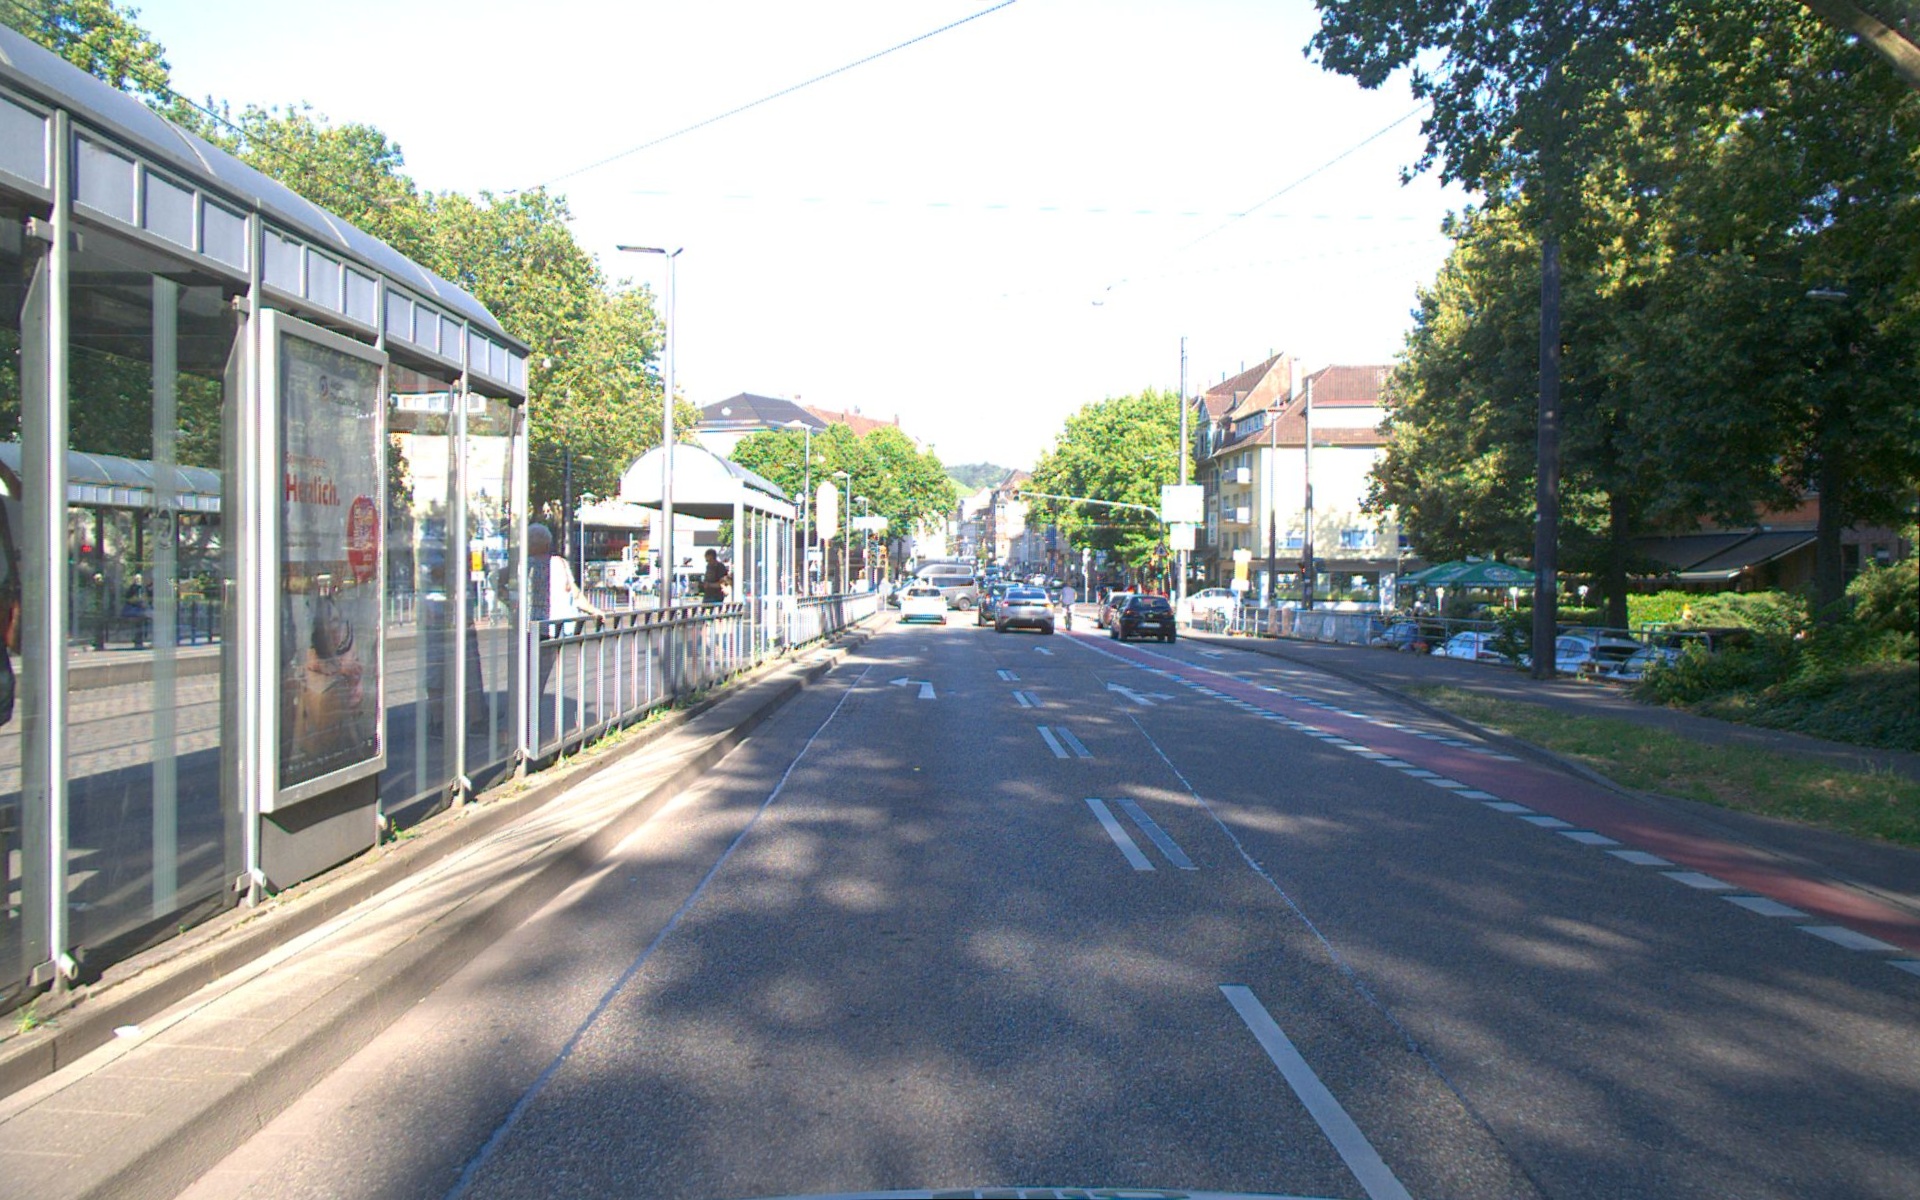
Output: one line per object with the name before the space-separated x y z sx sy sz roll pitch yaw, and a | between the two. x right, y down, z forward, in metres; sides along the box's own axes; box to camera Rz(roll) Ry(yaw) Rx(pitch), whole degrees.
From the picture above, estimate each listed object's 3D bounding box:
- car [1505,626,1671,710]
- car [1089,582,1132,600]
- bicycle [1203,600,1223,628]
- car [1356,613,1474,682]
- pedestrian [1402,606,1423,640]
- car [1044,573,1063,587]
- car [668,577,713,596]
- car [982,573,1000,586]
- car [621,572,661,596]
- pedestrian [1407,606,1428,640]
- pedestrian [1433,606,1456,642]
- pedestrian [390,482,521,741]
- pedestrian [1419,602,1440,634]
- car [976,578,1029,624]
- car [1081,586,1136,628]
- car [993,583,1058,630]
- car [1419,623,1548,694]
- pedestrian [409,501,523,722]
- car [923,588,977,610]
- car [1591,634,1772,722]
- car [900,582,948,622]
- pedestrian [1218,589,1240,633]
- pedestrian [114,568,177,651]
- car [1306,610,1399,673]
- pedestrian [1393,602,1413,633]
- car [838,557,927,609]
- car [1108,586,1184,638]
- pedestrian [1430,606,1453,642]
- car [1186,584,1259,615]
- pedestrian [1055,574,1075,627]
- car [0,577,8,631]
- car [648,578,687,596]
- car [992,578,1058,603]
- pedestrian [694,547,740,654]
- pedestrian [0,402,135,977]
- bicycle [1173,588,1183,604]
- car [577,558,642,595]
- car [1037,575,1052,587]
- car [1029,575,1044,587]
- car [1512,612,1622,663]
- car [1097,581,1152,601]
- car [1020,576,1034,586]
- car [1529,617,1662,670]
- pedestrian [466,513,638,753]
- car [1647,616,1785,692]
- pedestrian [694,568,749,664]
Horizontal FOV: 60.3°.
car | 13.556 1.422 36.009 1.758 1.606 4.552 2 0 -1
car | 13.821 -0.828 151.996 3.968 1.536 1.772 0 1 -43
bicycle | 10.163 0.562 66.439 0.488 1.093 1.799 2 0 -1
car | 13.206 1.350 48.258 1.760 1.834 4.204 2 0 -8
pedestrian | 18.689 0.942 68.326 0.635 1.361 0.632 3 0 -1
car | 11.846 -2.522 209.754 2.062 1.807 4.340 1 1 -1
car | -23.281 -1.163 143.135 1.760 1.677 4.005 1 1 28
car | 3.518 -2.328 187.942 1.758 1.536 3.998 1 1 -2
car | -28.101 -1.410 145.950 1.756 1.990 4.002 1 1 17
pedestrian | 19.172 0.961 69.283 0.635 1.361 0.632 3 0 -1
pedestrian | 18.799 0.927 64.179 0.635 1.361 0.632 3 0 -1
pedestrian | -3.794 0.079 12.475 0.637 1.873 0.711 2 0 9
pedestrian | 20.738 0.804 73.071 0.635 1.361 0.632 3 0 -1
car | 1.600 0.021 63.230 1.764 1.666 4.044 1 1 -2
car | 5.936 0.261 66.493 1.758 1.536 4.000 1 2 -1
car | 2.169 0.188 55.948 1.890 1.498 4.854 1 1 -1
car | 13.216 1.440 42.010 1.758 1.606 4.441 2 0 -1
pedestrian | -4.059 0.091 13.576 0.646 1.752 0.701 2 0 -37
car | -0.603 -0.062 95.785 2.848 1.183 2.070 1 0 -8
car | 13.667 1.447 31.554 1.758 1.466 3.575 2 0 -3
car | -1.421 0.041 64.795 1.772 1.478 3.999 1 0 -2
pedestrian | 9.948 0.415 61.247 0.634 1.590 0.632 3 0 18
pedestrian | -13.564 0.156 27.555 0.656 1.348 0.756 -2 0 -3
car | 12.778 1.312 54.104 1.758 1.931 4.356 2 0 -3
pedestrian | 19.814 0.780 74.019 0.635 1.361 0.632 3 0 -1
car | -4.454 -0.952 95.238 4.920 2.791 2.070 1 -1 -8
car | 5.653 0.332 50.717 1.764 1.464 4.044 2 1 -1
pedestrian | 18.923 0.935 65.013 0.635 1.361 0.632 3 0 -1
car | 15.484 -0.031 97.409 4.059 1.722 1.823 2 0 14
pedestrian | 3.805 0.009 59.758 0.643 1.903 0.677 1 0 -2
car | -44.276 0.162 71.102 2.107 2.376 5.723 1 0 22
car | -25.637 -1.132 145.103 1.756 1.536 4.012 1 1 17
car | 4.172 -0.588 106.495 3.921 1.536 1.793 1 1 37
pedestrian | -3.940 0.002 26.796 0.583 1.707 0.590 1 0 4
pedestrian | -3.228 0.258 5.286 0.727 1.724 0.791 2 0 -1
bicycle | 16.003 -0.321 121.390 0.596 1.127 1.801 1 1 3
car | -31.086 -2.054 146.842 2.445 3.220 6.535 1 1 21
car | 11.030 -2.463 216.266 1.758 1.536 3.999 1 1 -1
car | 10.246 -2.554 222.410 1.758 1.536 3.999 1 1 -1
car | 20.267 1.209 55.156 3.963 1.505 1.774 -2 2 -41
car | 12.667 -0.697 127.293 3.914 1.536 1.796 1 0 -10
car | 9.799 -2.772 241.639 1.758 1.549 3.999 1 1 -1
car | 19.858 1.335 51.623 4.203 1.431 1.940 -1 2 -36
pedestrian | -2.975 0.224 12.082 0.787 1.662 0.863 3 1 36
car | 20.083 1.383 43.889 3.961 1.765 1.775 -2 2 -39
pedestrian | -3.391 0.227 23.572 0.664 1.331 0.593 1 0 -1
